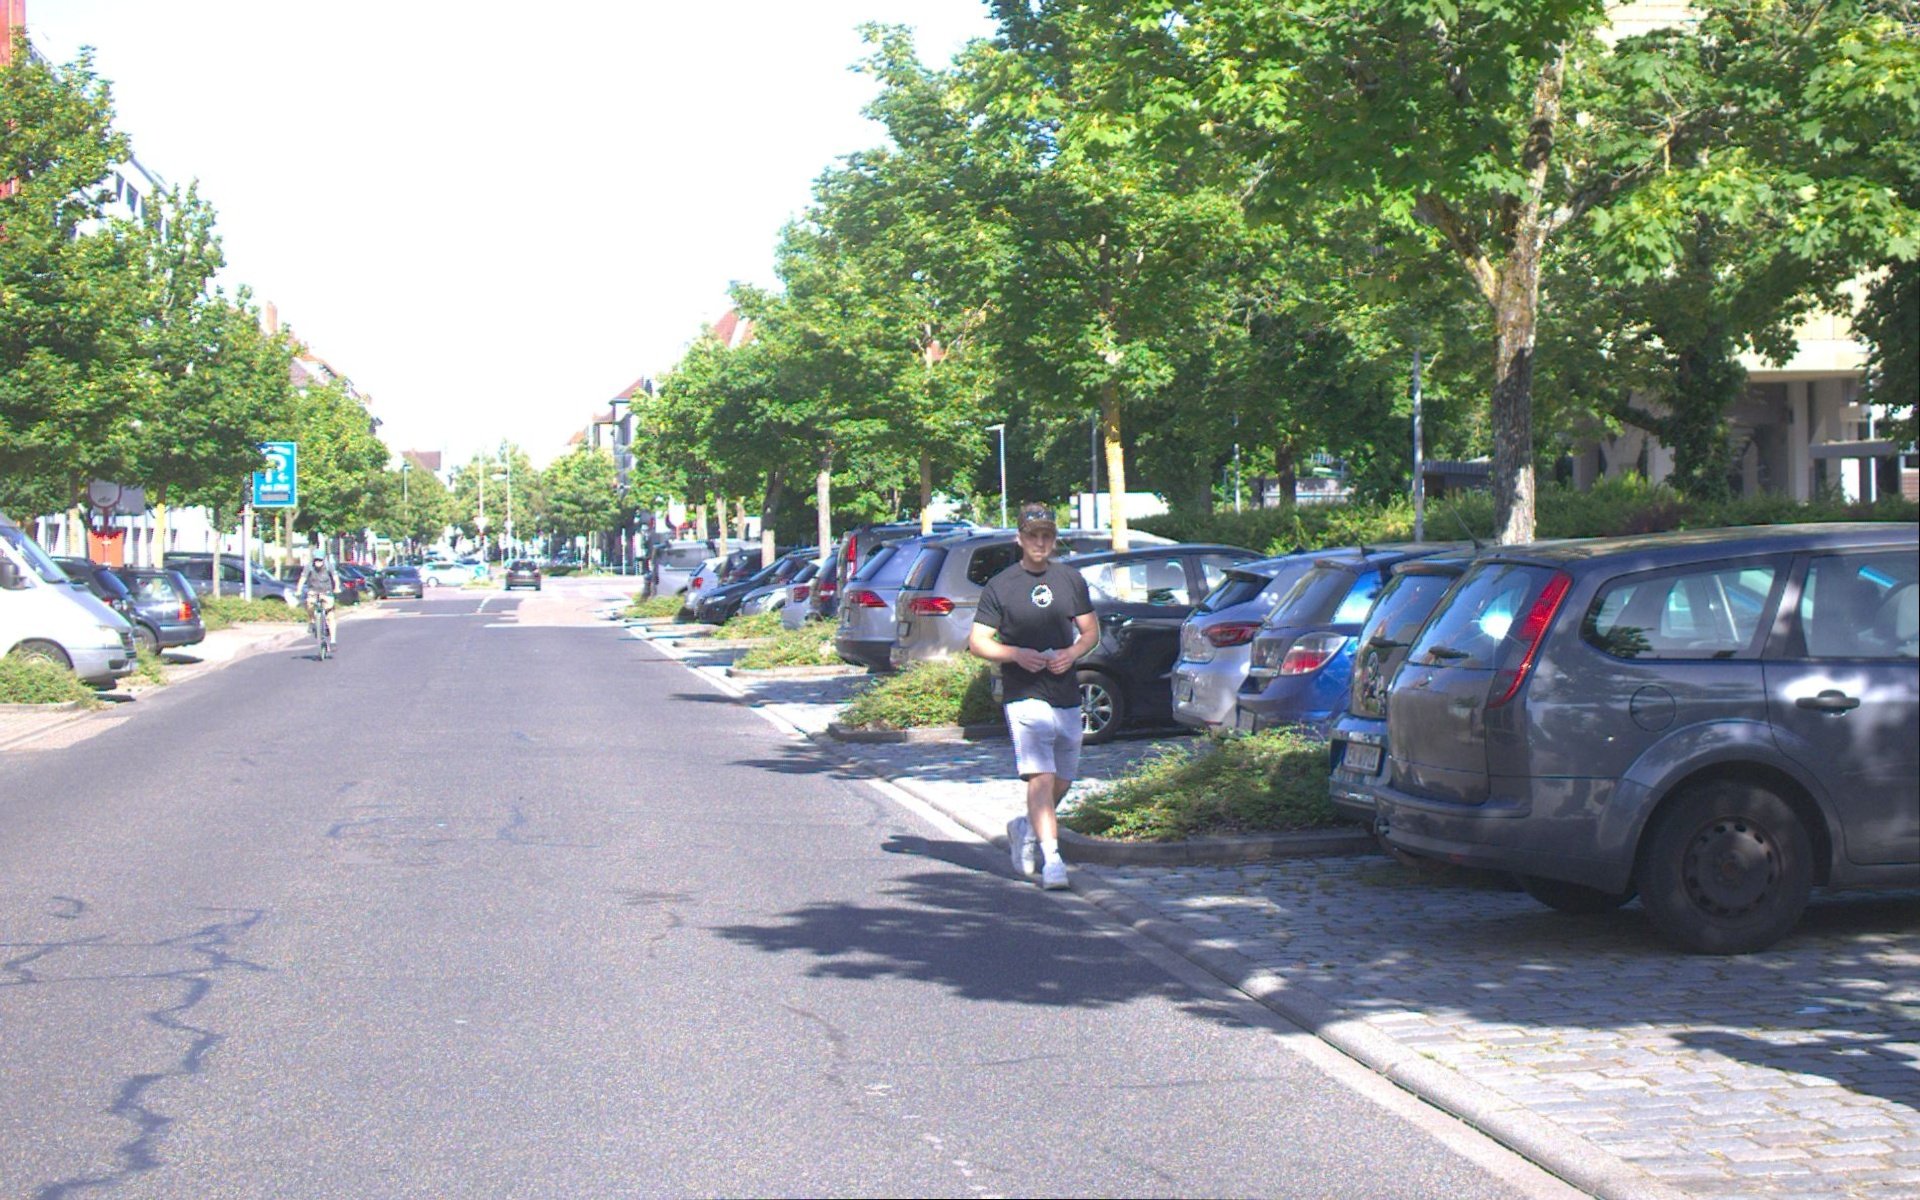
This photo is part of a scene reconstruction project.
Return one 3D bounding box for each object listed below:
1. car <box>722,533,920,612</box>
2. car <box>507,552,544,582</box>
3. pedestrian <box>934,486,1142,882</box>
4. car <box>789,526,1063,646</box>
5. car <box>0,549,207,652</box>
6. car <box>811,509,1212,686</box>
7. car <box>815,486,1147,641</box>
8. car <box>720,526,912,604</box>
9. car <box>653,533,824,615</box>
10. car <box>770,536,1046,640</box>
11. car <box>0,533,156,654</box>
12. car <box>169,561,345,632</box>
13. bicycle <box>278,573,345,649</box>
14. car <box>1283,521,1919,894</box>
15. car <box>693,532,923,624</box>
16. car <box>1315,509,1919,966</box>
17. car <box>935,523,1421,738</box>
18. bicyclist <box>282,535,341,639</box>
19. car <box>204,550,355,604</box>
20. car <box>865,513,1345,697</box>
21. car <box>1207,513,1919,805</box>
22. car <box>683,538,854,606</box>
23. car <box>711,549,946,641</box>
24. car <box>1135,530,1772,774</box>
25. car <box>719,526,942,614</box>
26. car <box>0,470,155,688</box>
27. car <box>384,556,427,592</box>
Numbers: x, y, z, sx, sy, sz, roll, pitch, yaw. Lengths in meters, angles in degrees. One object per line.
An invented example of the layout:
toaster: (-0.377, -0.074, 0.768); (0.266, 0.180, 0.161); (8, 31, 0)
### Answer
car: (-2.927, -0.570, 71.793); (3.986, 1.533, 1.862); (-1, 0, -6)
car: (-22.966, -1.745, 181.807); (1.811, 1.469, 4.112); (-1, 2, -6)
pedestrian: (0.350, 0.375, 16.189); (0.719, 1.765, 1.169); (-3, 1, -8)
car: (-0.496, -0.212, 48.302); (3.605, 1.544, 1.707); (-1, 2, -9)
car: (-13.812, -0.009, 53.207); (4.129, 1.487, 1.870); (1, 2, -10)
car: (0.499, -0.058, 36.015); (3.898, 1.689, 1.941); (-1, 2, -9)
car: (0.251, -0.518, 45.815); (4.117, 1.921, 1.979); (-1, 2, -9)
car: (-3.137, -0.758, 74.385); (3.986, 1.576, 2.032); (-1, 1, -6)
car: (-5.347, -0.642, 82.753); (3.986, 1.873, 1.683); (-1, 1, -6)
car: (-0.821, -0.192, 52.805); (4.061, 1.421, 1.742); (-2, 1, -6)
car: (-13.632, -0.115, 48.966); (3.986, 1.658, 1.828); (1, 1, -4)
car: (-17.826, -0.097, 87.339); (4.260, 1.660, 1.600); (-1, 2, -8)
bicycle: (-10.040, 0.164, 53.296); (0.698, 1.107, 2.079); (-2, 1, -3)
car: (3.553, 0.414, 15.387); (3.898, 1.463, 1.622); (-1, 2, -9)
car: (-2.886, -0.437, 64.862); (4.143, 1.574, 1.741); (-2, 1, -8)
car: (3.620, 0.418, 13.004); (4.185, 1.514, 1.737); (-2, 1, -9)
car: (1.671, 0.223, 26.992); (3.452, 1.484, 1.747); (-2, 0, -9)
bicyclist: (-10.056, -0.203, 53.343); (0.683, 1.575, 1.061); (-2, 1, -3)
car: (-20.219, -0.690, 102.266); (4.330, 1.469, 1.818); (-1, 2, -10)
car: (1.380, 0.022, 33.548); (4.319, 1.602, 1.913); (-2, 1, -11)
car: (3.520, 0.295, 19.783); (3.894, 1.492, 1.843); (-2, 1, -6)
car: (-4.407, -0.639, 78.913); (3.765, 1.454, 1.818); (-1, 1, -7)
car: (-2.314, -0.102, 59.919); (3.900, 1.481, 1.743); (-1, 1, -8)
car: (3.135, 0.300, 22.321); (3.732, 1.411, 1.843); (-2, 1, -6)
car: (-2.381, -0.560, 62.623); (3.861, 1.499, 1.653); (-1, 1, -9)
car: (-12.062, -0.273, 38.814); (5.550, 2.401, 1.988); (1, 1, -5)
car: (-24.955, -1.193, 154.899); (1.811, 1.469, 4.112); (-1, 2, -8)
